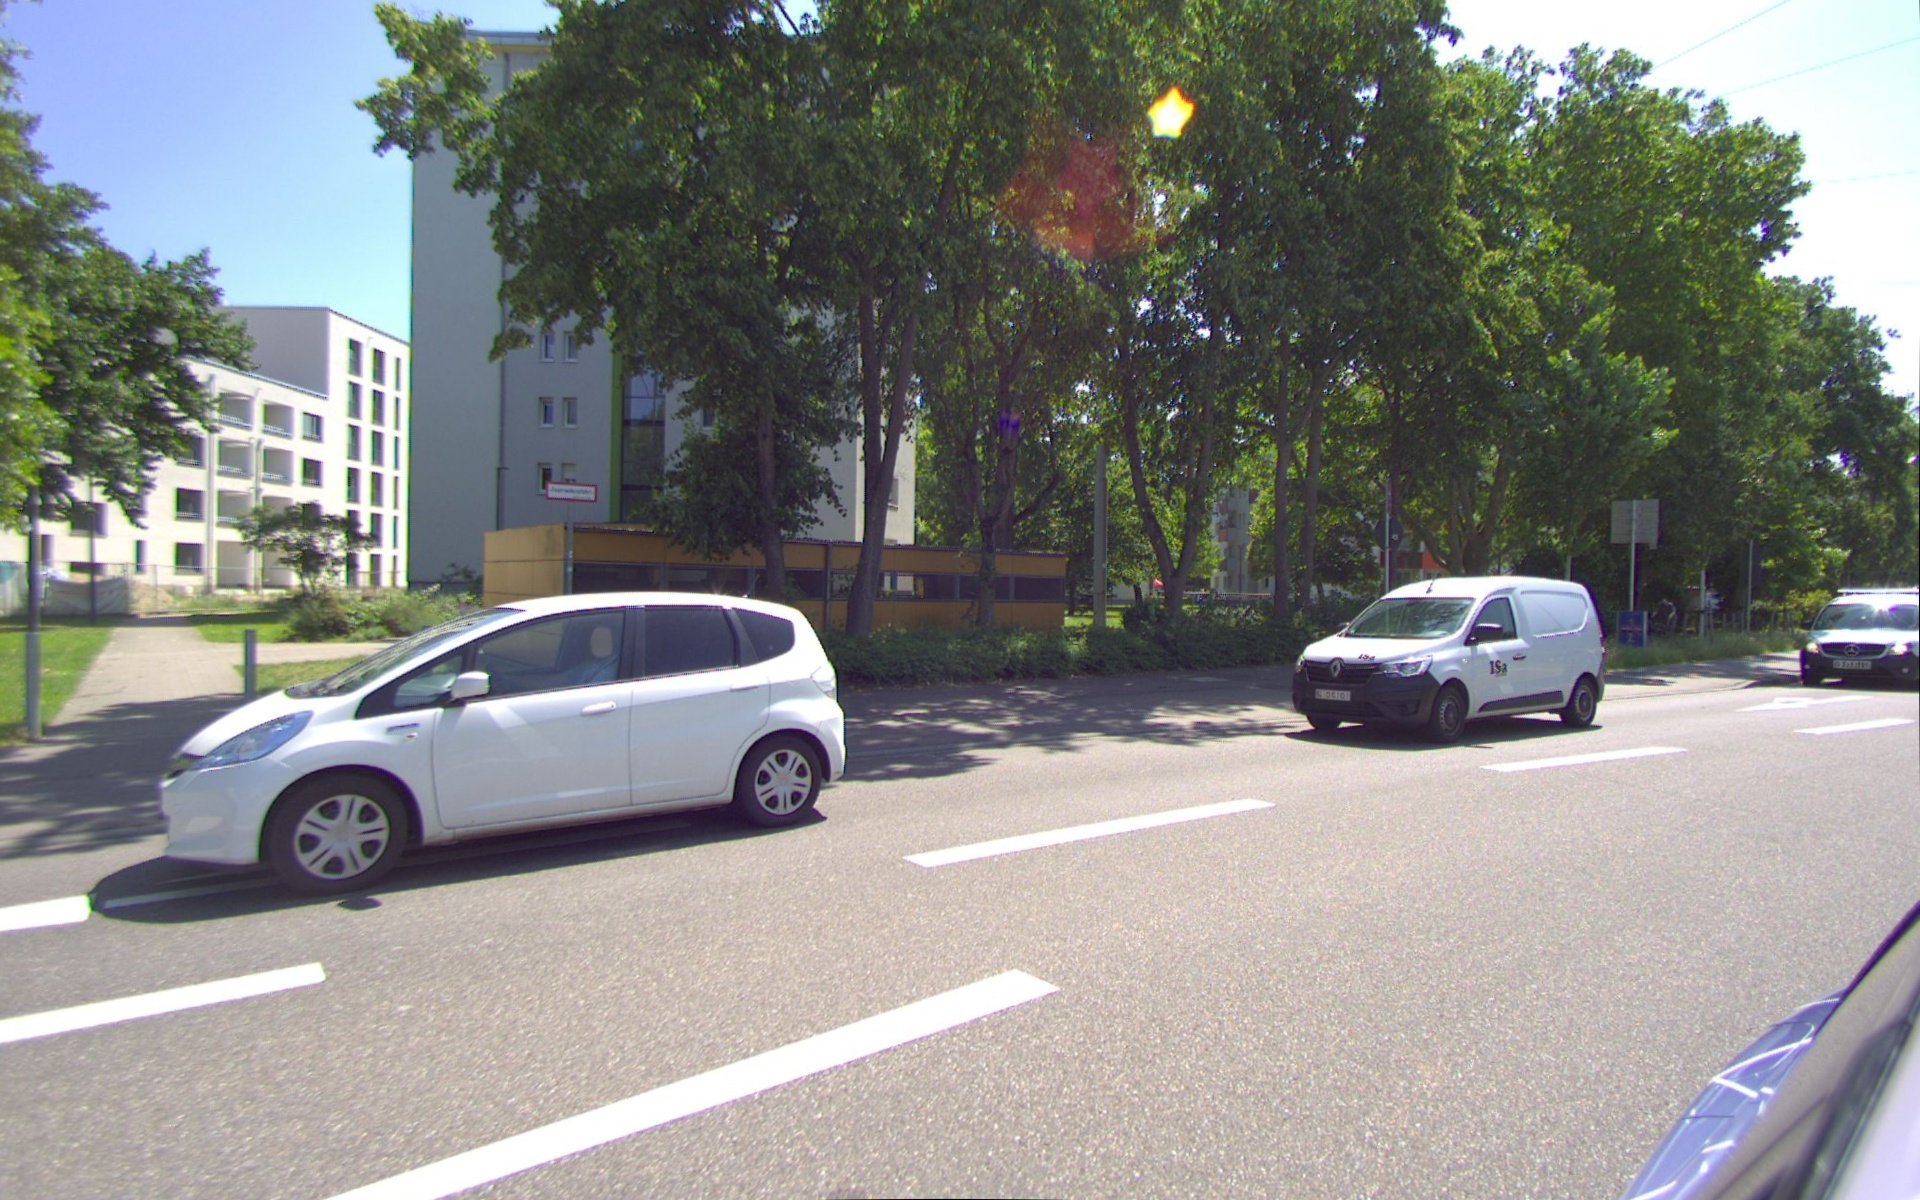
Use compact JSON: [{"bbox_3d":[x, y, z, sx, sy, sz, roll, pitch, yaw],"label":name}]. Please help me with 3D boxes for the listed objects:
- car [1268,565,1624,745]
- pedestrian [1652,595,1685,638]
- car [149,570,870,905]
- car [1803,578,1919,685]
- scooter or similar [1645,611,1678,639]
[{"bbox_3d":[5.776,0.555,11.873,4.340,1.770,1.716,0,-1,-32],"label":"car"},{"bbox_3d":[23.641,0.558,33.784,0.749,1.416,0.710,1,-1,-38],"label":"pedestrian"},{"bbox_3d":[-2.639,0.631,6.409,3.806,1.507,1.725,0,-1,-37],"label":"car"},{"bbox_3d":[18.275,0.565,19.773,4.990,1.879,1.809,0,-1,-39],"label":"car"},{"bbox_3d":[23.172,0.811,33.411,0.749,0.904,0.710,1,-1,-38],"label":"scooter or similar"}]
